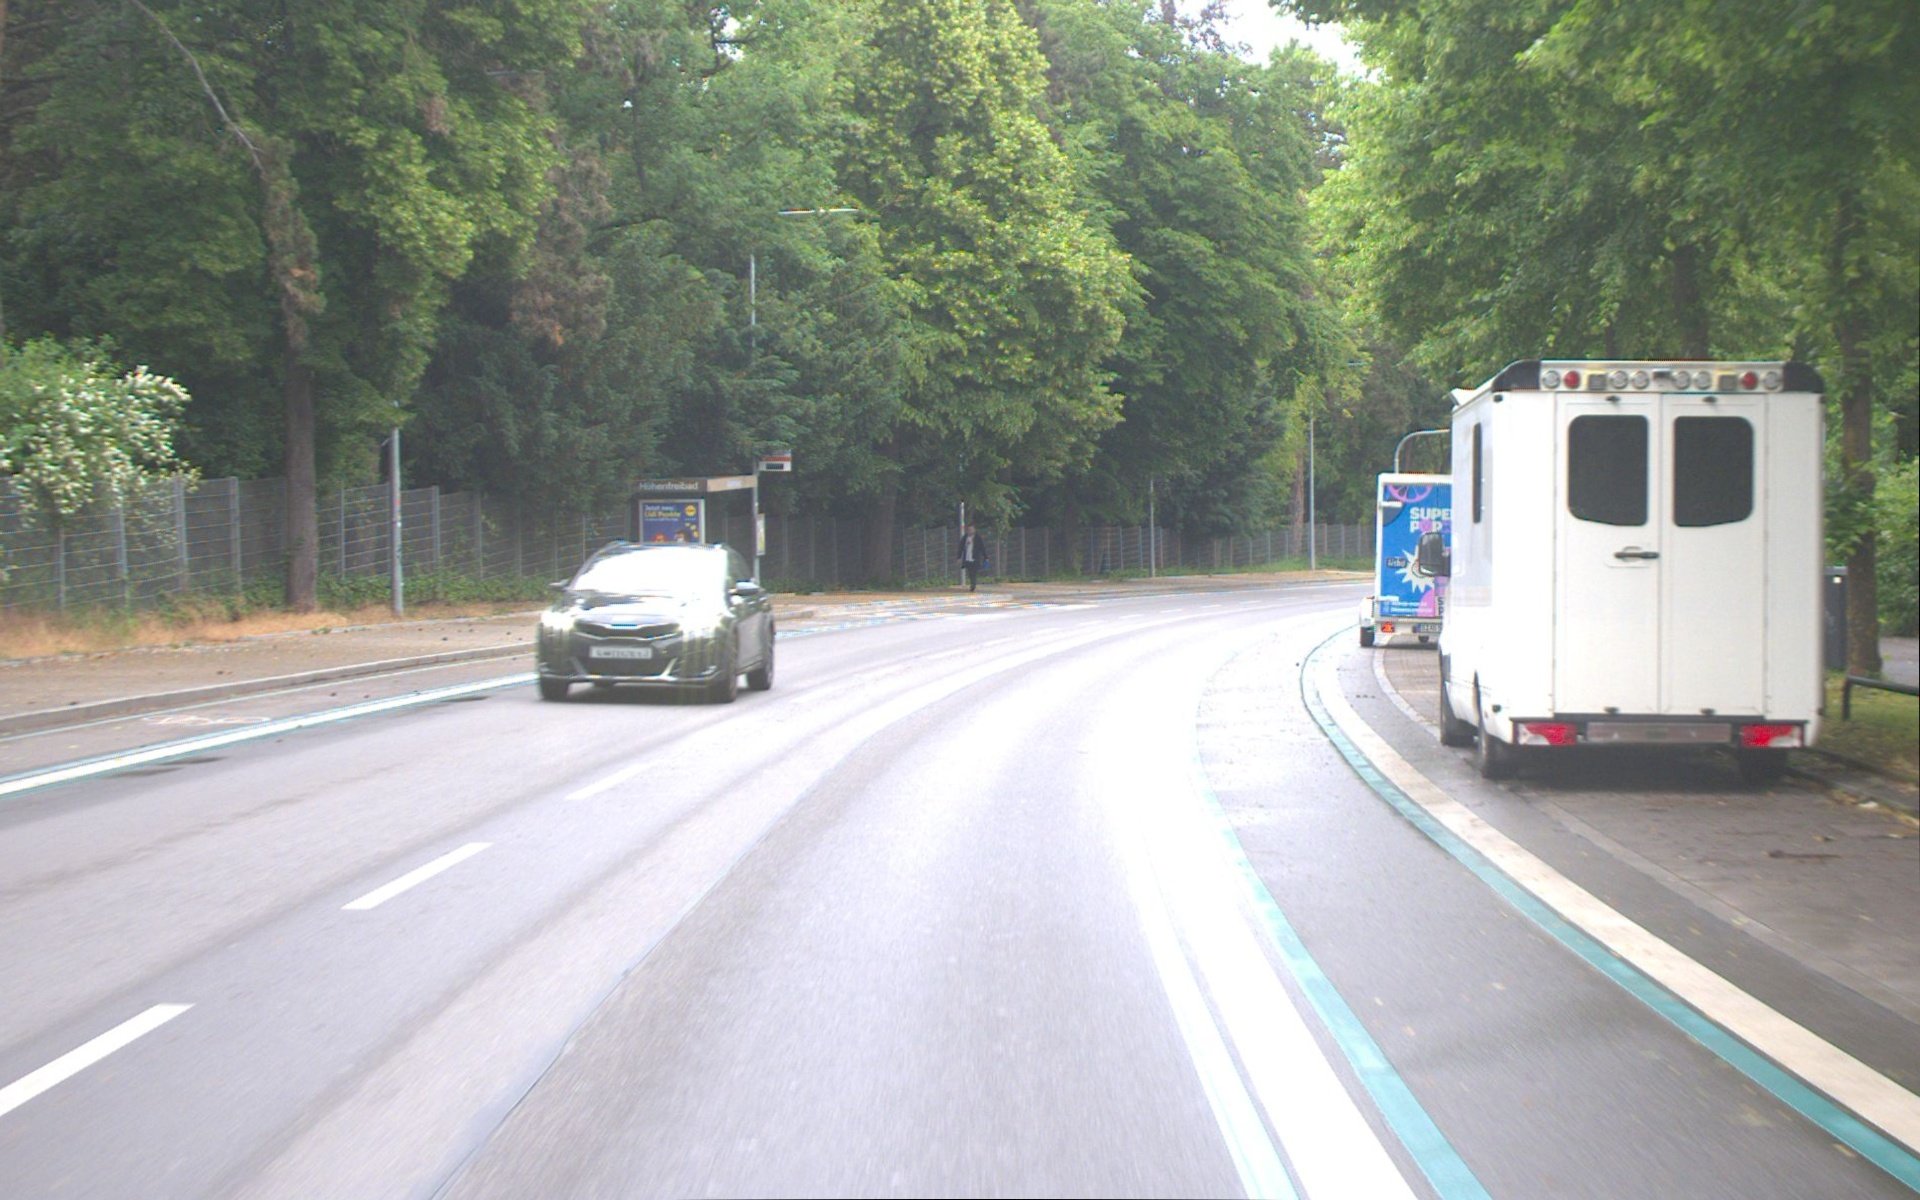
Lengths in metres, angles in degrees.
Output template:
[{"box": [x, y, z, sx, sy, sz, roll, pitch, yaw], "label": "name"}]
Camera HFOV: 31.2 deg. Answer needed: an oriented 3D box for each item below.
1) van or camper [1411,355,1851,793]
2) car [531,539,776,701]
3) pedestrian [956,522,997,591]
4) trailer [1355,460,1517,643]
[{"box": [4.530, -0.228, 24.302, 2.317, 2.655, 6.381, 1, 1, 5], "label": "van or camper"}, {"box": [-2.880, 0.139, 33.112, 1.760, 1.432, 4.150, 1, 1, 3], "label": "car"}, {"box": [0.428, -1.118, 88.093, 0.887, 1.727, 1.146, 1, 1, 8], "label": "pedestrian"}, {"box": [7.340, -0.763, 53.203, 2.317, 2.663, 5.375, 1, 1, 8], "label": "trailer"}]
